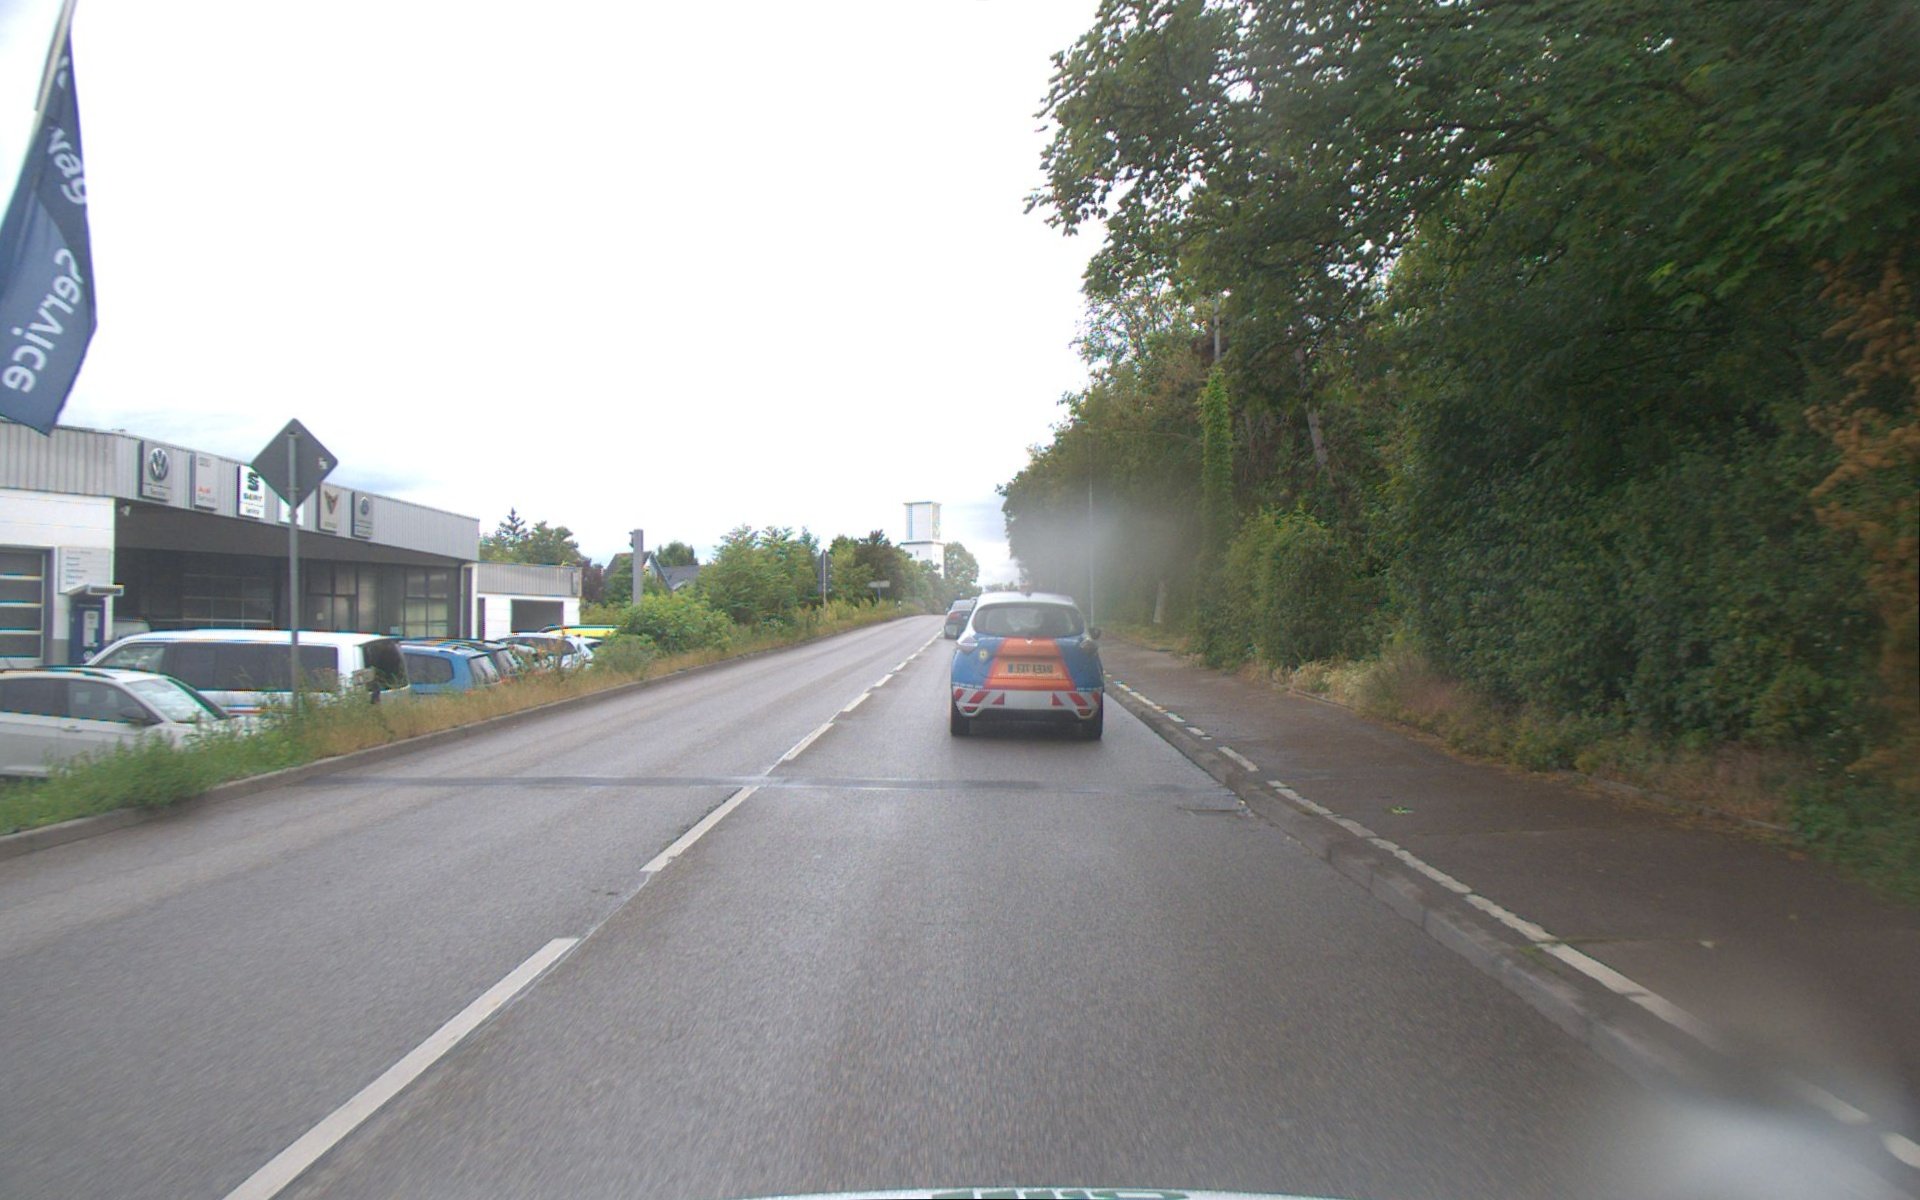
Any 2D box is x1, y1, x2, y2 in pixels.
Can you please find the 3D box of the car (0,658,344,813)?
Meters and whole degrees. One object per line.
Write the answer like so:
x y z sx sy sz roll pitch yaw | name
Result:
-9.161 1.470 18.359 3.927 1.504 1.823 -1 0 -1 | car

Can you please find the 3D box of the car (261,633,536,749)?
-9.721 1.549 28.880 4.142 1.829 1.874 -1 0 -3 | car

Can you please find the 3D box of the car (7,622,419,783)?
-9.368 1.255 21.019 4.322 1.829 1.934 -1 0 -1 | car

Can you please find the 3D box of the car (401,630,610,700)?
-10.048 1.415 36.835 4.142 1.392 1.874 -1 0 -3 | car

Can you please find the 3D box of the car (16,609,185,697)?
-21.603 1.334 41.515 4.395 1.994 1.981 -4 -2 36 | car

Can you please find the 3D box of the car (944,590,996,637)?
0.376 0.490 59.623 1.765 1.618 3.563 -2 -1 0 | car

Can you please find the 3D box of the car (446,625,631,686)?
-10.029 1.317 39.565 3.981 1.313 1.803 -1 0 -3 | car

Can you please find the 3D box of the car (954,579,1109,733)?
0.778 0.628 19.152 1.623 1.621 3.568 0 -1 1 | car

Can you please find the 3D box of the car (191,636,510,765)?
-9.606 1.561 26.365 4.324 1.829 2.001 -1 0 -3 | car

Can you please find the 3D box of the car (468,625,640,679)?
-10.325 1.317 42.264 3.981 1.232 1.803 -1 0 -3 | car
